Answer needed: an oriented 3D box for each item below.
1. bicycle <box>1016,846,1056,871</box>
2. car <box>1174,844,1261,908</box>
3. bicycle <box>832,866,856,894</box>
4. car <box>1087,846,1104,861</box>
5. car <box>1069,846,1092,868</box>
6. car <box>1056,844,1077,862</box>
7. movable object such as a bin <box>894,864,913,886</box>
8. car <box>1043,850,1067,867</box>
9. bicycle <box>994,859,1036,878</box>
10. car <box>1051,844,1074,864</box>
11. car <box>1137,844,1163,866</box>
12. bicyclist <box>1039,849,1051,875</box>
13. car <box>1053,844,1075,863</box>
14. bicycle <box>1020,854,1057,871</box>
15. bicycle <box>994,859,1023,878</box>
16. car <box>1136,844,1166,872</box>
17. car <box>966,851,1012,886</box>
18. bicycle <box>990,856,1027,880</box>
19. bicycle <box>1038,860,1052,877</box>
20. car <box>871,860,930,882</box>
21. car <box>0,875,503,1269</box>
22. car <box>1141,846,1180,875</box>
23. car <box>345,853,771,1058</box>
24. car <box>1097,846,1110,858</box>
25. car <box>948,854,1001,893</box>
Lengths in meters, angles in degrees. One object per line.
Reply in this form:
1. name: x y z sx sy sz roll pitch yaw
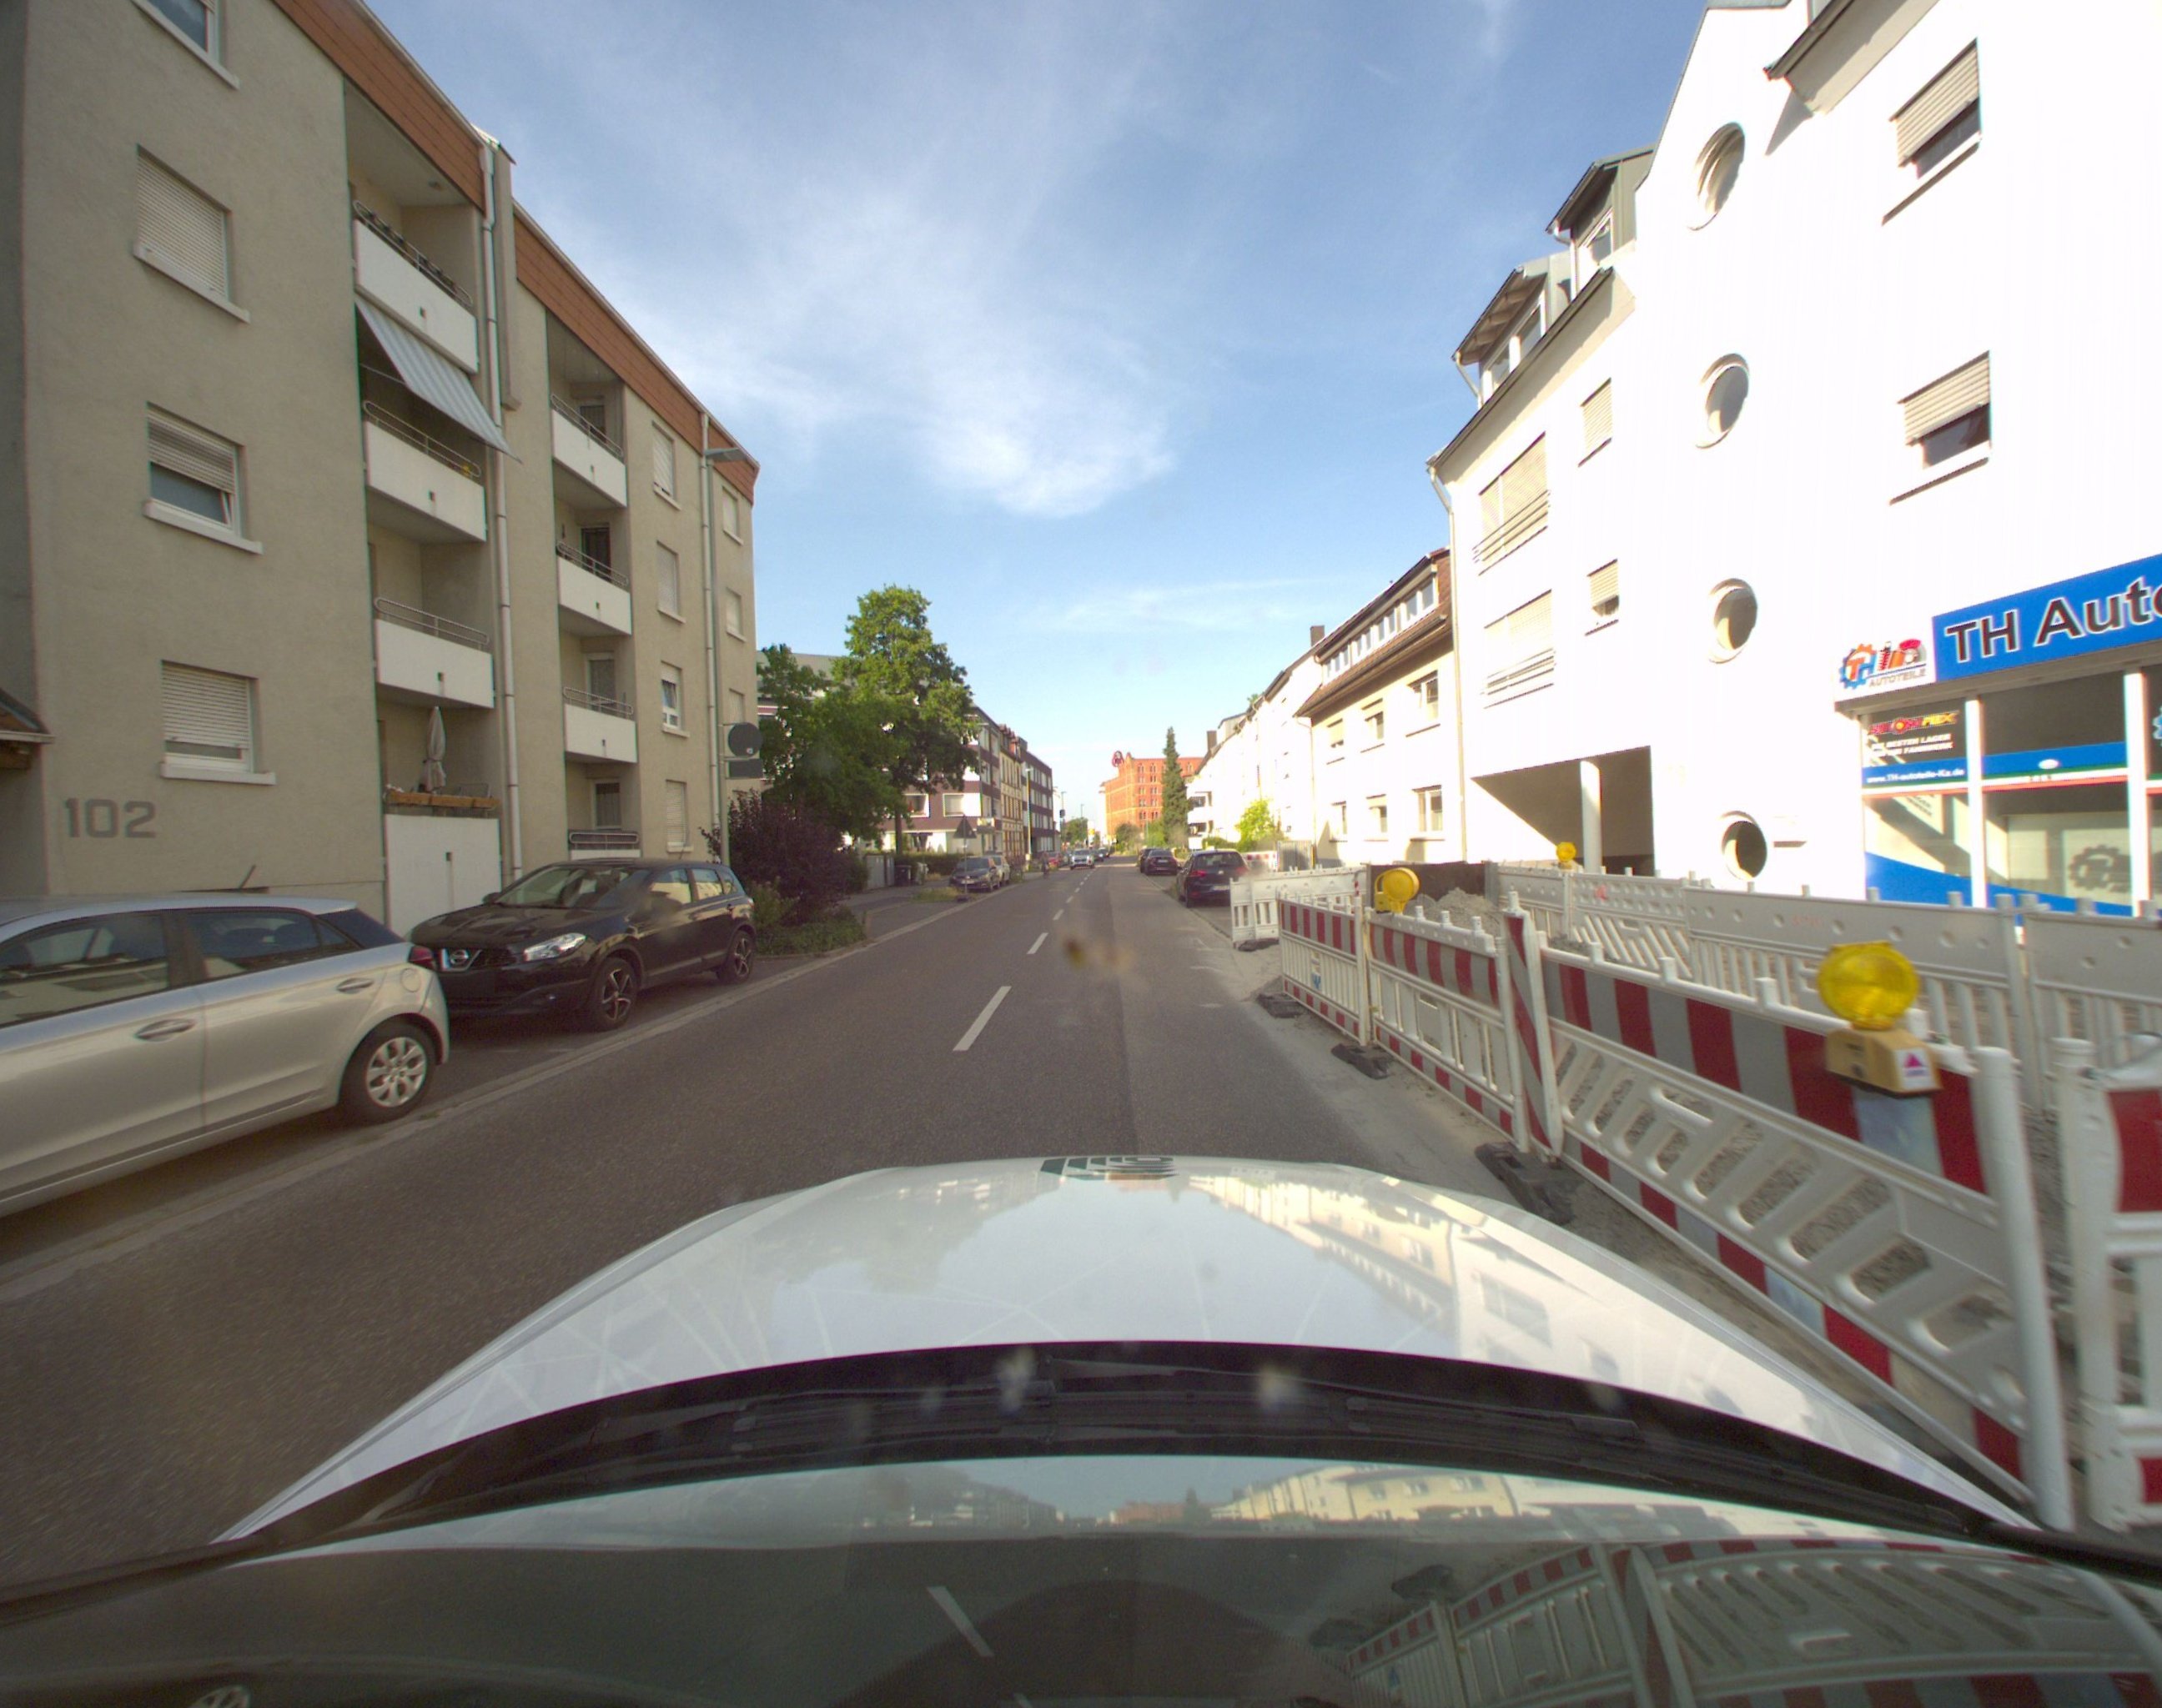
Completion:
1. bicycle: -3.432 0.346 62.206 2.906 1.777 1.203 -3 0 2
2. car: 3.605 0.529 22.130 1.822 1.482 3.946 -3 0 3
3. bicycle: -9.352 1.019 32.137 0.460 1.023 1.681 -2 0 -2
4. car: 1.714 -0.121 94.320 1.757 1.616 4.002 -3 0 2
5. car: -0.012 0.240 66.676 1.757 1.616 4.002 -3 0 2
6. car: -1.582 -0.079 91.868 1.985 1.907 4.003 -3 0 3
7. movable object such as a bin: -8.668 1.030 39.798 0.749 1.040 0.817 1 0 2
8. car: -2.251 0.375 71.873 1.833 1.464 3.587 -2 0 2
9. bicycle: -3.740 0.830 46.244 2.335 0.970 0.707 -2 0 -4
10. car: -1.844 -0.003 82.673 1.985 1.835 3.692 -3 0 3
11. car: 5.371 0.052 63.856 1.757 1.526 4.002 -3 0 2
12. bicyclist: -2.090 0.454 47.617 0.588 1.442 0.751 -3 0 3
13. car: -1.810 -0.023 87.793 1.985 1.911 3.692 -3 0 3
14. bicycle: -3.352 0.668 63.978 2.762 1.144 1.144 -3 0 2
15. bicycle: -4.187 0.816 46.968 1.582 1.041 0.707 -2 0 -4
16. car: 4.431 0.253 51.800 1.595 1.646 3.686 -3 0 2
17. car: -4.398 0.661 39.461 1.670 1.501 4.000 -2 0 0
18. bicycle: -4.011 0.761 45.382 1.997 1.217 0.707 -2 0 -4
19. bicycle: -2.078 0.827 47.626 0.606 0.942 1.813 -2 0 3
20. car: -11.995 1.133 54.060 3.469 1.288 1.648 -3 0 -30
21. car: -5.103 0.924 3.828 1.679 1.454 4.142 -1 0 2
22. car: 4.508 0.338 46.554 1.852 1.472 4.001 -3 0 1
23. car: -5.113 0.828 8.846 1.680 1.603 4.371 -2 0 1
24. car: 3.410 -0.326 123.881 1.757 1.616 4.002 -3 0 2
25. car: -4.319 0.759 33.614 1.568 1.420 3.805 -2 0 1
